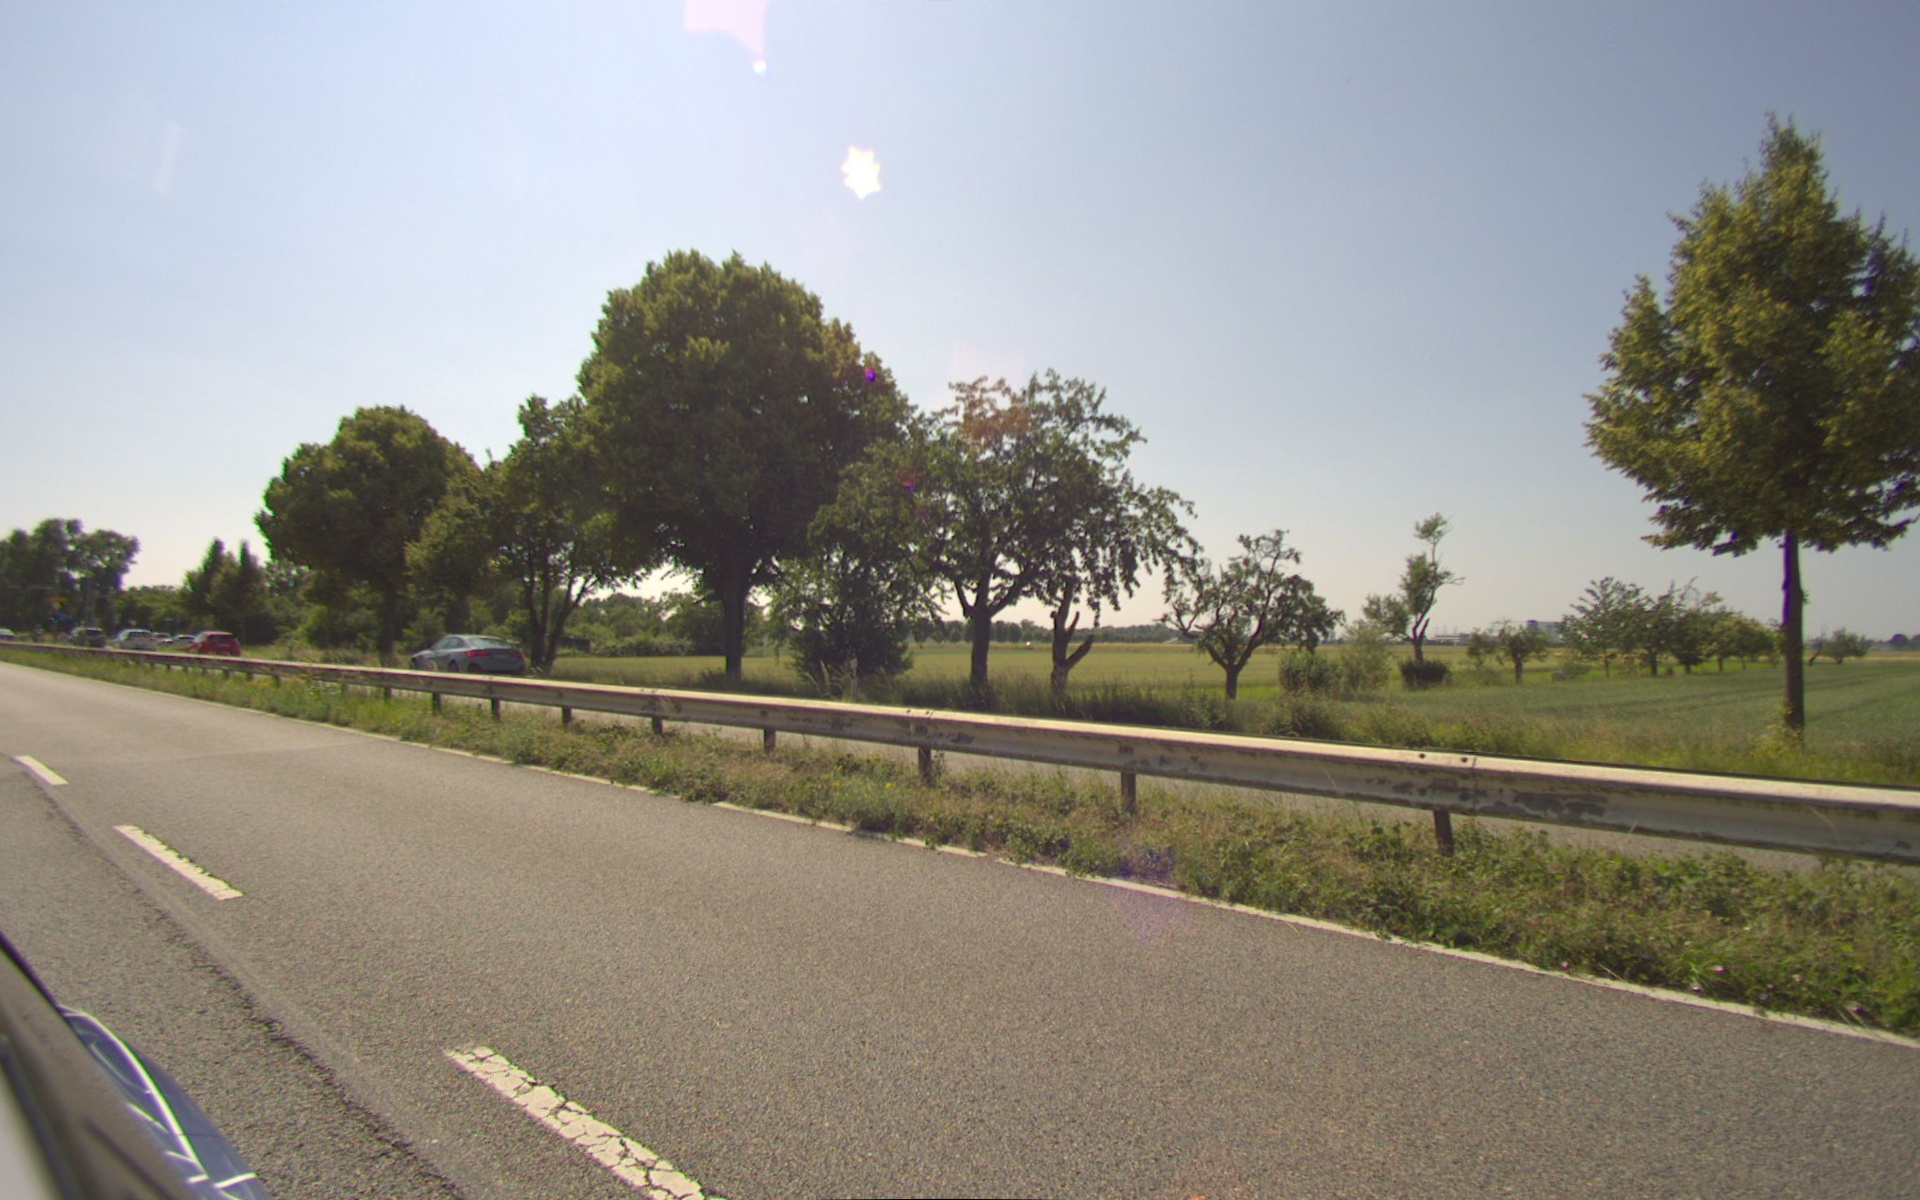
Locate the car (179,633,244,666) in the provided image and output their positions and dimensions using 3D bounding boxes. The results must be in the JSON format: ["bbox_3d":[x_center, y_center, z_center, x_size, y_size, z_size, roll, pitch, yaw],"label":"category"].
[{"bbox_3d":[-37.247,2.446,50.342,3.892,1.603,1.742,-2,-3,41],"label":"car"}]

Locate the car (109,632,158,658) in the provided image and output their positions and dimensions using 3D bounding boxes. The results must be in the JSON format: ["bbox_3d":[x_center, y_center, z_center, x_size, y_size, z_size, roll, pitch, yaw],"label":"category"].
[{"bbox_3d":[-52.760,2.886,64.584,3.892,1.603,1.742,-2,-3,41],"label":"car"}]

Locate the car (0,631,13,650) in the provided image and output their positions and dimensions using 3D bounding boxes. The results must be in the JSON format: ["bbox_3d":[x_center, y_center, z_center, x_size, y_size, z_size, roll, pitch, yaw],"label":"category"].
[{"bbox_3d":[-80.233,3.367,84.120,3.748,1.603,1.742,-2,-3,41],"label":"car"}]

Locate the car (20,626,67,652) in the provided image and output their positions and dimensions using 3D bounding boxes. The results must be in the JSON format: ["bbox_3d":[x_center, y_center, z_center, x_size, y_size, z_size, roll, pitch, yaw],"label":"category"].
[{"bbox_3d":[-58.468,2.487,64.564,3.748,1.603,1.742,-1,-3,41],"label":"car"}]

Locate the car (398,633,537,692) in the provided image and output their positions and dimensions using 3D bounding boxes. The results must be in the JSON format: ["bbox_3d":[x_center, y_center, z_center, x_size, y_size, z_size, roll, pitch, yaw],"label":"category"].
[{"bbox_3d":[-14.705,1.809,30.080,4.862,1.603,1.935,-2,-3,41],"label":"car"}]

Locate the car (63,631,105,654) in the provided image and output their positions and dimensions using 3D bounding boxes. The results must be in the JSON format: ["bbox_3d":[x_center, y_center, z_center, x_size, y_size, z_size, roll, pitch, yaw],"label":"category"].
[{"bbox_3d":[-65.153,3.157,75.258,3.892,1.603,1.742,-2,-3,41],"label":"car"}]
